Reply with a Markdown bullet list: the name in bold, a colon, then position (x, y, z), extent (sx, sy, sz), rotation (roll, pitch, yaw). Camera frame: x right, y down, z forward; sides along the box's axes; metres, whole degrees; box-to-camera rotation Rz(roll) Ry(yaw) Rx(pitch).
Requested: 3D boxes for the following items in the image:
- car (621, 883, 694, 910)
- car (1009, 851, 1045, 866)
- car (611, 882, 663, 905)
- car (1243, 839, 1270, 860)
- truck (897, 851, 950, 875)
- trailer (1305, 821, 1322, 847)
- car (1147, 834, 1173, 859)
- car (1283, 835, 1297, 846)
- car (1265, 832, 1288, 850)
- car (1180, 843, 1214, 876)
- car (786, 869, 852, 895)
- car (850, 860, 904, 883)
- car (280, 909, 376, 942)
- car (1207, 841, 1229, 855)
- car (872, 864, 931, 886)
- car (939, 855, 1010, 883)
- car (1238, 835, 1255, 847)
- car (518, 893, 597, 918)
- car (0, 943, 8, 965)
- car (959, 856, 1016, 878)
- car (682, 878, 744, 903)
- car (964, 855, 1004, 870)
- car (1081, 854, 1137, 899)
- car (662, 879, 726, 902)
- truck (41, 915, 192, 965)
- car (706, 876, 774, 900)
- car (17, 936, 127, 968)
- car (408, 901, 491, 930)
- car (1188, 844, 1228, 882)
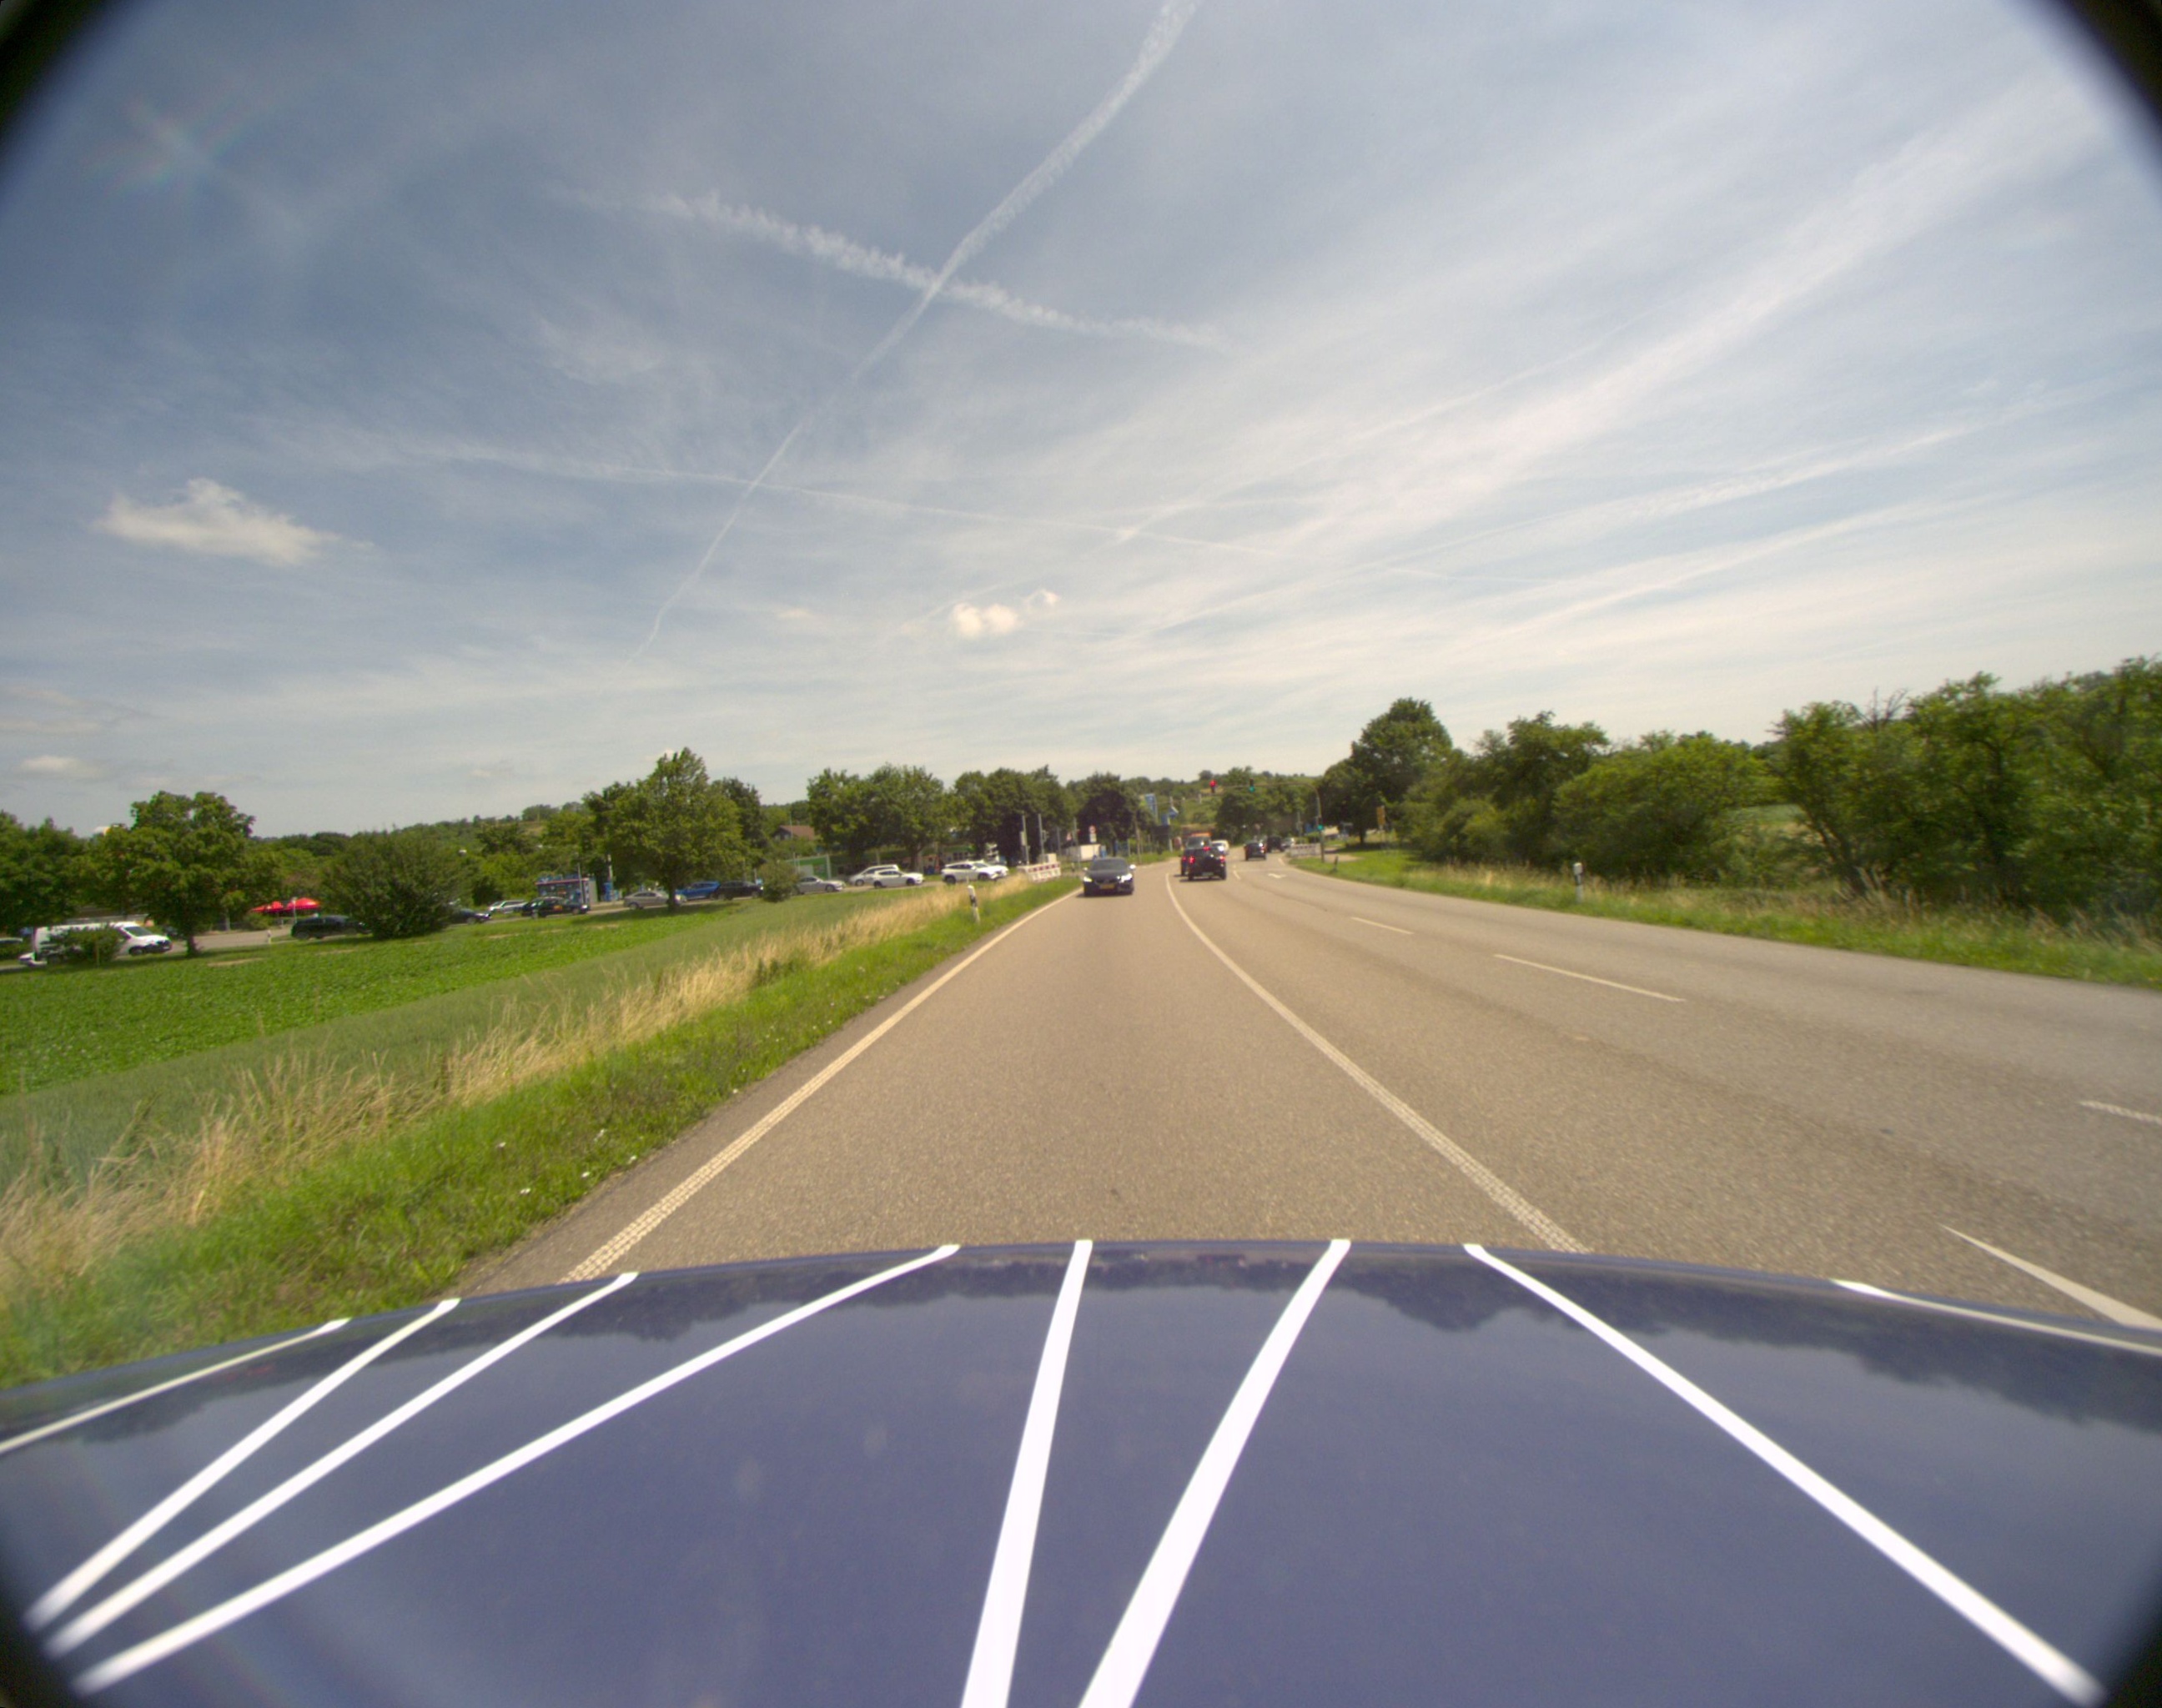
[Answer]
- **car**: position (-33.254, 3.326, 59.769), extent (4.563, 1.502, 1.798), rotation (-5, 2, -12)
- **car**: position (-7.346, 0.597, 103.968), extent (1.994, 1.612, 4.637), rotation (-2, 3, 44)
- **car**: position (-43.859, 3.903, 75.127), extent (4.002, 1.814, 1.820), rotation (-5, 2, -17)
- **car**: position (15.580, -0.398, 67.239), extent (1.996, 1.686, 4.004), rotation (-2, 1, 17)
- **truck**: position (-19.941, 1.118, 96.345), extent (2.257, 2.603, 6.159), rotation (-3, 2, 43)
- **trailer**: position (39.760, -3.388, 129.985), extent (2.570, 4.007, 13.608), rotation (-3, 1, 17)
- **car**: position (8.441, -0.863, 81.340), extent (1.981, 2.505, 4.155), rotation (-4, 2, -3)
- **car**: position (29.400, -1.913, 106.872), extent (1.773, 1.487, 4.003), rotation (-2, 1, 15)
- **car**: position (23.847, -1.618, 92.512), extent (1.996, 1.994, 5.170), rotation (-3, 1, 21)
- **car**: position (6.658, 0.273, 43.740), extent (1.774, 1.649, 4.001), rotation (-3, 1, 8)
- **car**: position (-21.107, 2.243, 61.338), extent (4.559, 1.502, 1.800), rotation (-5, 2, -3)
- **car**: position (-18.448, 1.574, 68.704), extent (4.529, 1.682, 1.864), rotation (-5, 2, -18)
- **car**: position (-53.741, 5.055, 54.331), extent (4.294, 1.688, 1.997), rotation (-5, 2, -18)
- **car**: position (16.860, -0.736, 93.413), extent (1.781, 1.484, 4.161), rotation (-3, 2, 20)
- **car**: position (-14.322, 1.676, 60.767), extent (4.101, 1.411, 1.800), rotation (-4, 2, 4)
- **car**: position (-7.822, 1.105, 56.057), extent (4.632, 1.598, 2.000), rotation (-5, 3, 17)
- **car**: position (25.320, -2.039, 116.033), extent (1.806, 1.722, 4.005), rotation (-4, 0, 21)
- **car**: position (-40.137, 3.932, 58.328), extent (4.564, 1.266, 1.798), rotation (-5, 2, -18)
- **car**: position (-90.417, 8.393, 61.305), extent (4.002, 1.814, 1.820), rotation (-5, 2, -16)
- **car**: position (-7.420, 1.032, 60.269), extent (3.966, 1.411, 1.829), rotation (-4, 2, 14)
- **car**: position (-32.203, 3.195, 66.555), extent (4.528, 1.682, 1.864), rotation (-5, 2, -16)
- **car**: position (-12.530, 1.094, 98.440), extent (2.033, 1.594, 4.948), rotation (-2, 3, 44)
- **car**: position (1.134, 0.792, 28.935), extent (1.782, 1.484, 4.159), rotation (-2, 1, 6)
- **car**: position (-32.607, 3.048, 64.095), extent (4.389, 1.549, 1.782), rotation (-4, 0, -14)
- **truck**: position (-63.123, 5.609, 49.901), extent (5.643, 2.353, 2.049), rotation (-5, 2, -24)
- **car**: position (-27.560, 2.721, 61.454), extent (4.559, 1.502, 1.799), rotation (-4, 3, -2)
- **car**: position (-74.687, 7.215, 56.356), extent (1.875, 1.550, 4.500), rotation (-4, 2, 4)
- **car**: position (-46.608, 4.508, 56.204), extent (4.235, 1.502, 1.797), rotation (-5, 2, -21)
- **car**: position (6.253, 0.412, 37.407), extent (1.774, 1.649, 4.002), rotation (-3, 1, 10)
